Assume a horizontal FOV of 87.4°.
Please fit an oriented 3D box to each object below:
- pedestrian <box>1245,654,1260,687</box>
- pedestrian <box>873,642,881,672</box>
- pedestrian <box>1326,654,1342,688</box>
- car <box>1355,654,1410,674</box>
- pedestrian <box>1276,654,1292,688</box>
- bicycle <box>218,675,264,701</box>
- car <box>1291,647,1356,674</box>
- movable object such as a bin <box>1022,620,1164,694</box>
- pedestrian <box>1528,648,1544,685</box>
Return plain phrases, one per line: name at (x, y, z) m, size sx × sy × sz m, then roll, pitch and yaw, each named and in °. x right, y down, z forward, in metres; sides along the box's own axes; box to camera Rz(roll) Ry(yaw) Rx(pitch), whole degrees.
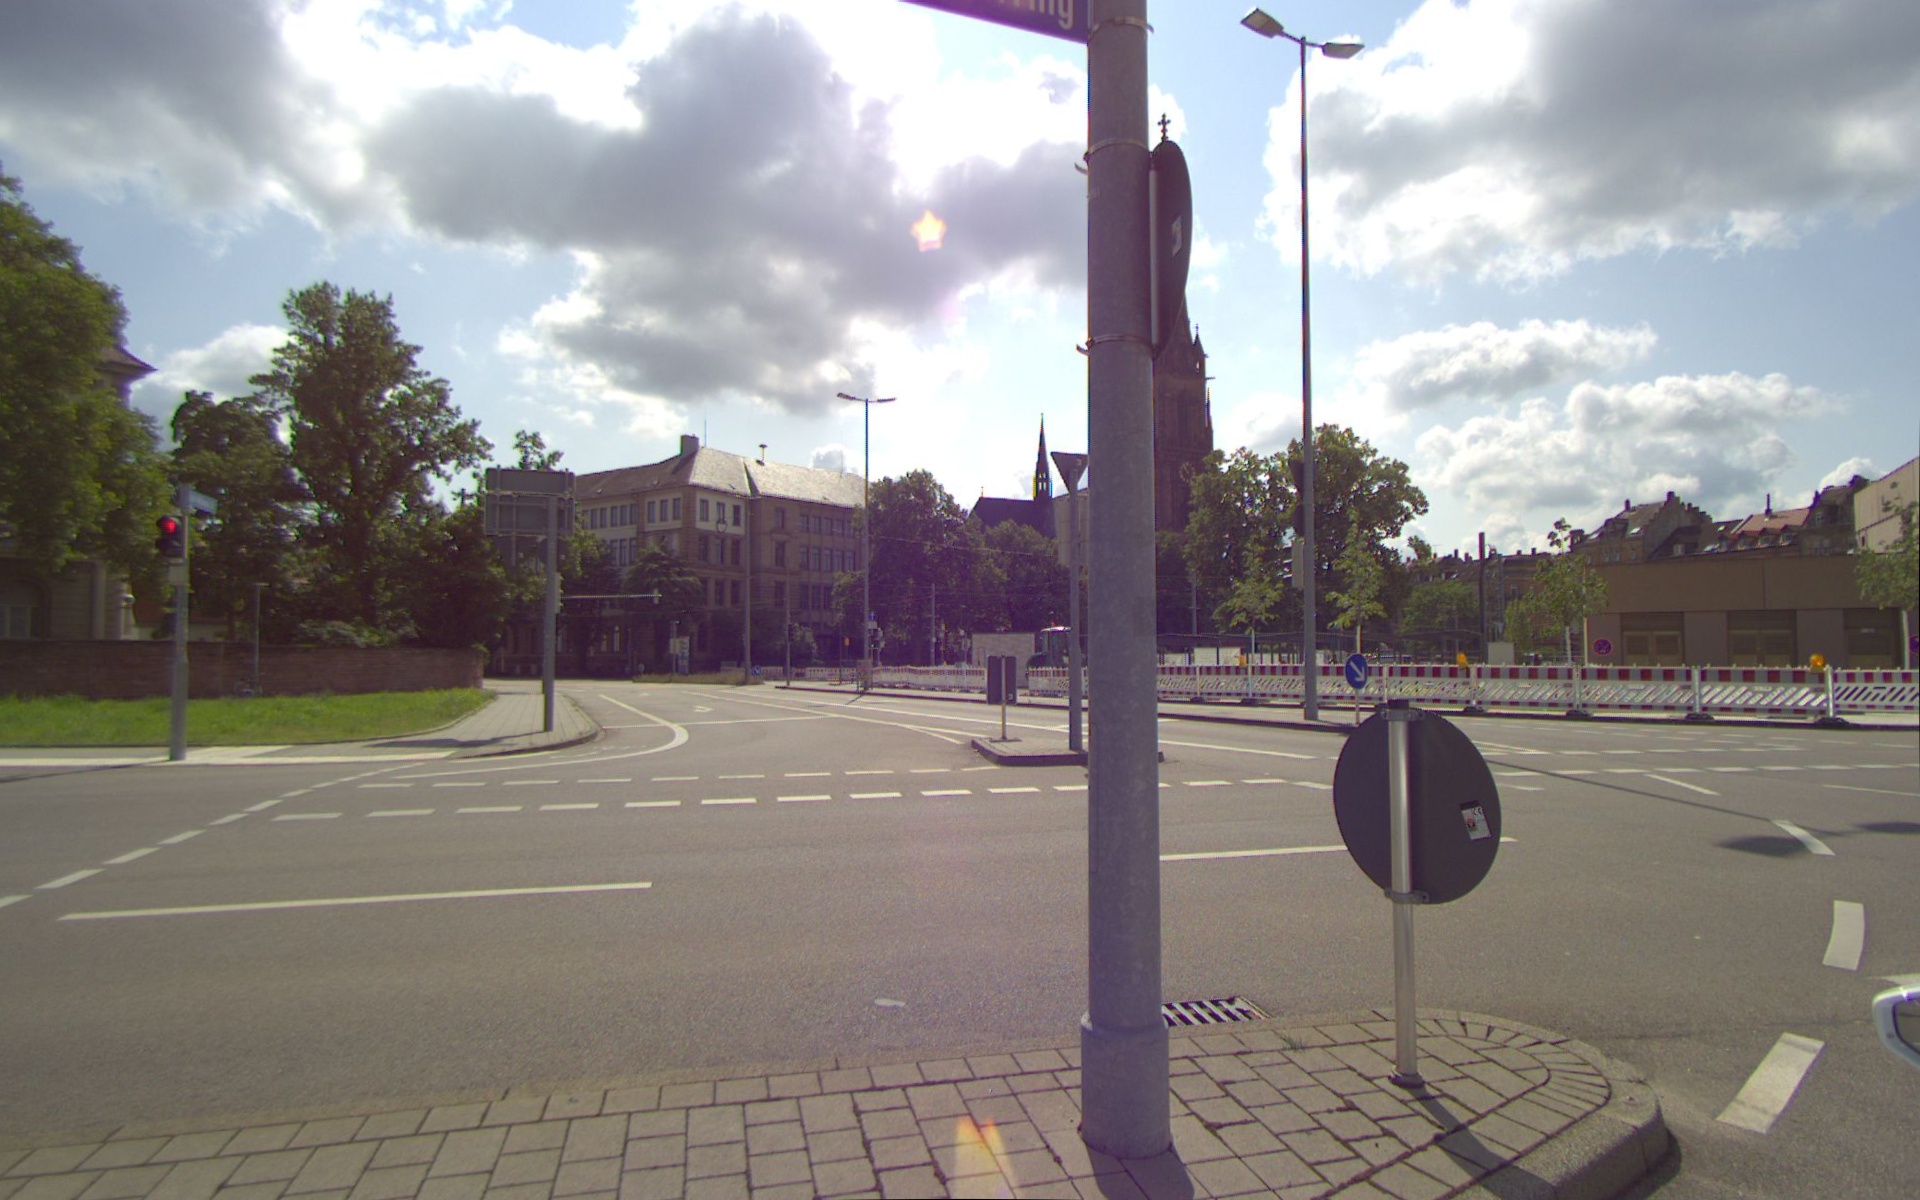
pedestrian at (18.204, 4.355, 62.524) m, size 0.737 × 2.040 × 0.762 m, roll -1°, pitch -3°, yaw 29°
pedestrian at (-5.262, 3.628, 63.686) m, size 0.491 × 1.874 × 0.528 m, roll 1°, pitch -3°, yaw -13°
pedestrian at (22.738, 4.324, 61.041) m, size 0.749 × 2.040 × 0.749 m, roll -1°, pitch -3°, yaw 30°
car at (38.988, 5.858, 92.715) m, size 4.308 × 1.816 × 1.775 m, roll -3°, pitch -4°, yaw 41°
pedestrian at (19.712, 4.310, 61.045) m, size 0.749 × 2.040 × 0.749 m, roll -1°, pitch -3°, yaw 30°
bicycle at (-28.805, 3.522, 40.274) m, size 0.386 × 1.004 × 1.523 m, roll -1°, pitch -4°, yaw 22°
car at (26.246, 4.343, 72.532) m, size 4.108 × 1.906 × 1.799 m, roll -2°, pitch -4°, yaw 32°
movable object such as a bin at (5.539, 2.384, 41.955) m, size 5.437 × 2.922 × 2.287 m, roll -1°, pitch -3°, yaw 24°
pedestrian at (31.579, 3.638, 55.079) m, size 0.690 × 2.040 × 0.554 m, roll -2°, pitch -3°, yaw 32°
